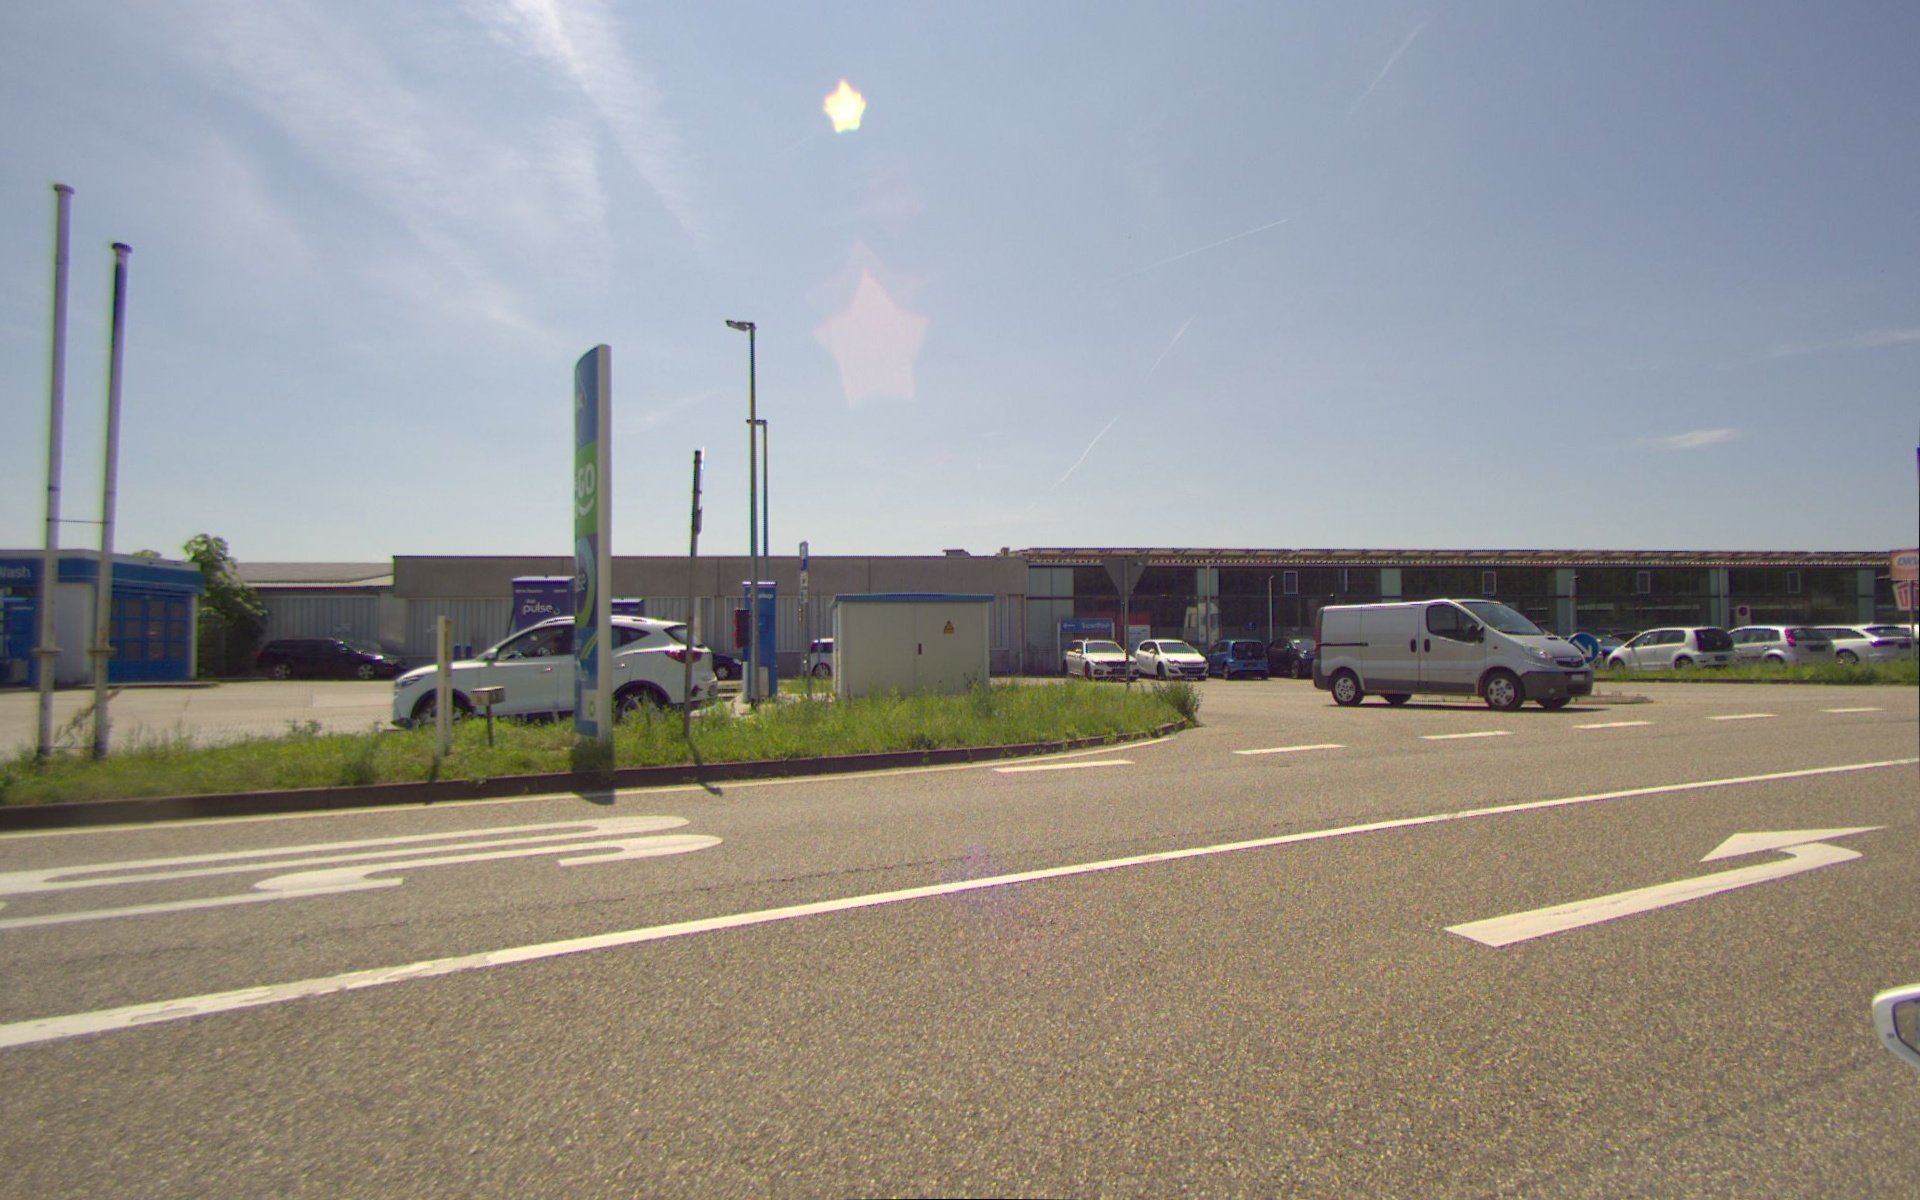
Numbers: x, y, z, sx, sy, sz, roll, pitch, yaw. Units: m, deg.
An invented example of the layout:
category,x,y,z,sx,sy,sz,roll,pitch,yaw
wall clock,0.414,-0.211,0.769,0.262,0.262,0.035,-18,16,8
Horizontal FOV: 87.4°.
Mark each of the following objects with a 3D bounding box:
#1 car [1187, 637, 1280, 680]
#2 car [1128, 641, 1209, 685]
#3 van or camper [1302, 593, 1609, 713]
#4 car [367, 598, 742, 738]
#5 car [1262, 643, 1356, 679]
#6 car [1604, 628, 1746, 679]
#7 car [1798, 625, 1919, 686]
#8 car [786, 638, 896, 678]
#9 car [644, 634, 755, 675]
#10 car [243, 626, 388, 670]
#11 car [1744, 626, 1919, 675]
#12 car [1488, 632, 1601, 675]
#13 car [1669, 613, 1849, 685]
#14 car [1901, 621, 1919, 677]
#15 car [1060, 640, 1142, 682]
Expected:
category,x,y,z,sx,sy,sz,roll,pitch,yaw
car,10.439,2.217,38.590,1.964,1.550,3.994,0,-2,-9
car,7.788,2.328,37.886,1.810,1.516,3.864,0,-2,-8
van or camper,9.003,1.009,18.722,1.884,1.929,4.820,1,-4,-33
car,-5.453,0.928,14.008,4.432,1.734,1.868,1,-2,-3
car,13.363,2.364,38.697,1.737,1.263,3.996,0,-4,-8
car,21.740,1.590,30.710,1.535,1.460,3.449,0,-2,-10
car,28.705,1.690,31.105,1.899,1.773,3.996,0,-2,-7
car,-4.478,2.180,37.995,4.025,1.447,1.918,0,-2,-6
car,-9.704,2.017,37.630,3.828,1.461,1.758,0,-2,-9
car,-22.448,1.674,35.112,3.828,1.461,1.758,0,-2,-9
car,26.543,1.495,30.383,1.964,1.377,4.245,0,-2,-9
car,22.956,2.080,39.621,1.785,1.603,3.995,1,-2,-8
car,24.083,1.463,30.477,1.964,2.040,3.995,0,-2,-9
car,31.618,1.530,30.590,1.963,1.773,3.996,1,-2,-7
car,5.157,2.238,37.315,1.963,1.461,3.995,0,-3,-9
